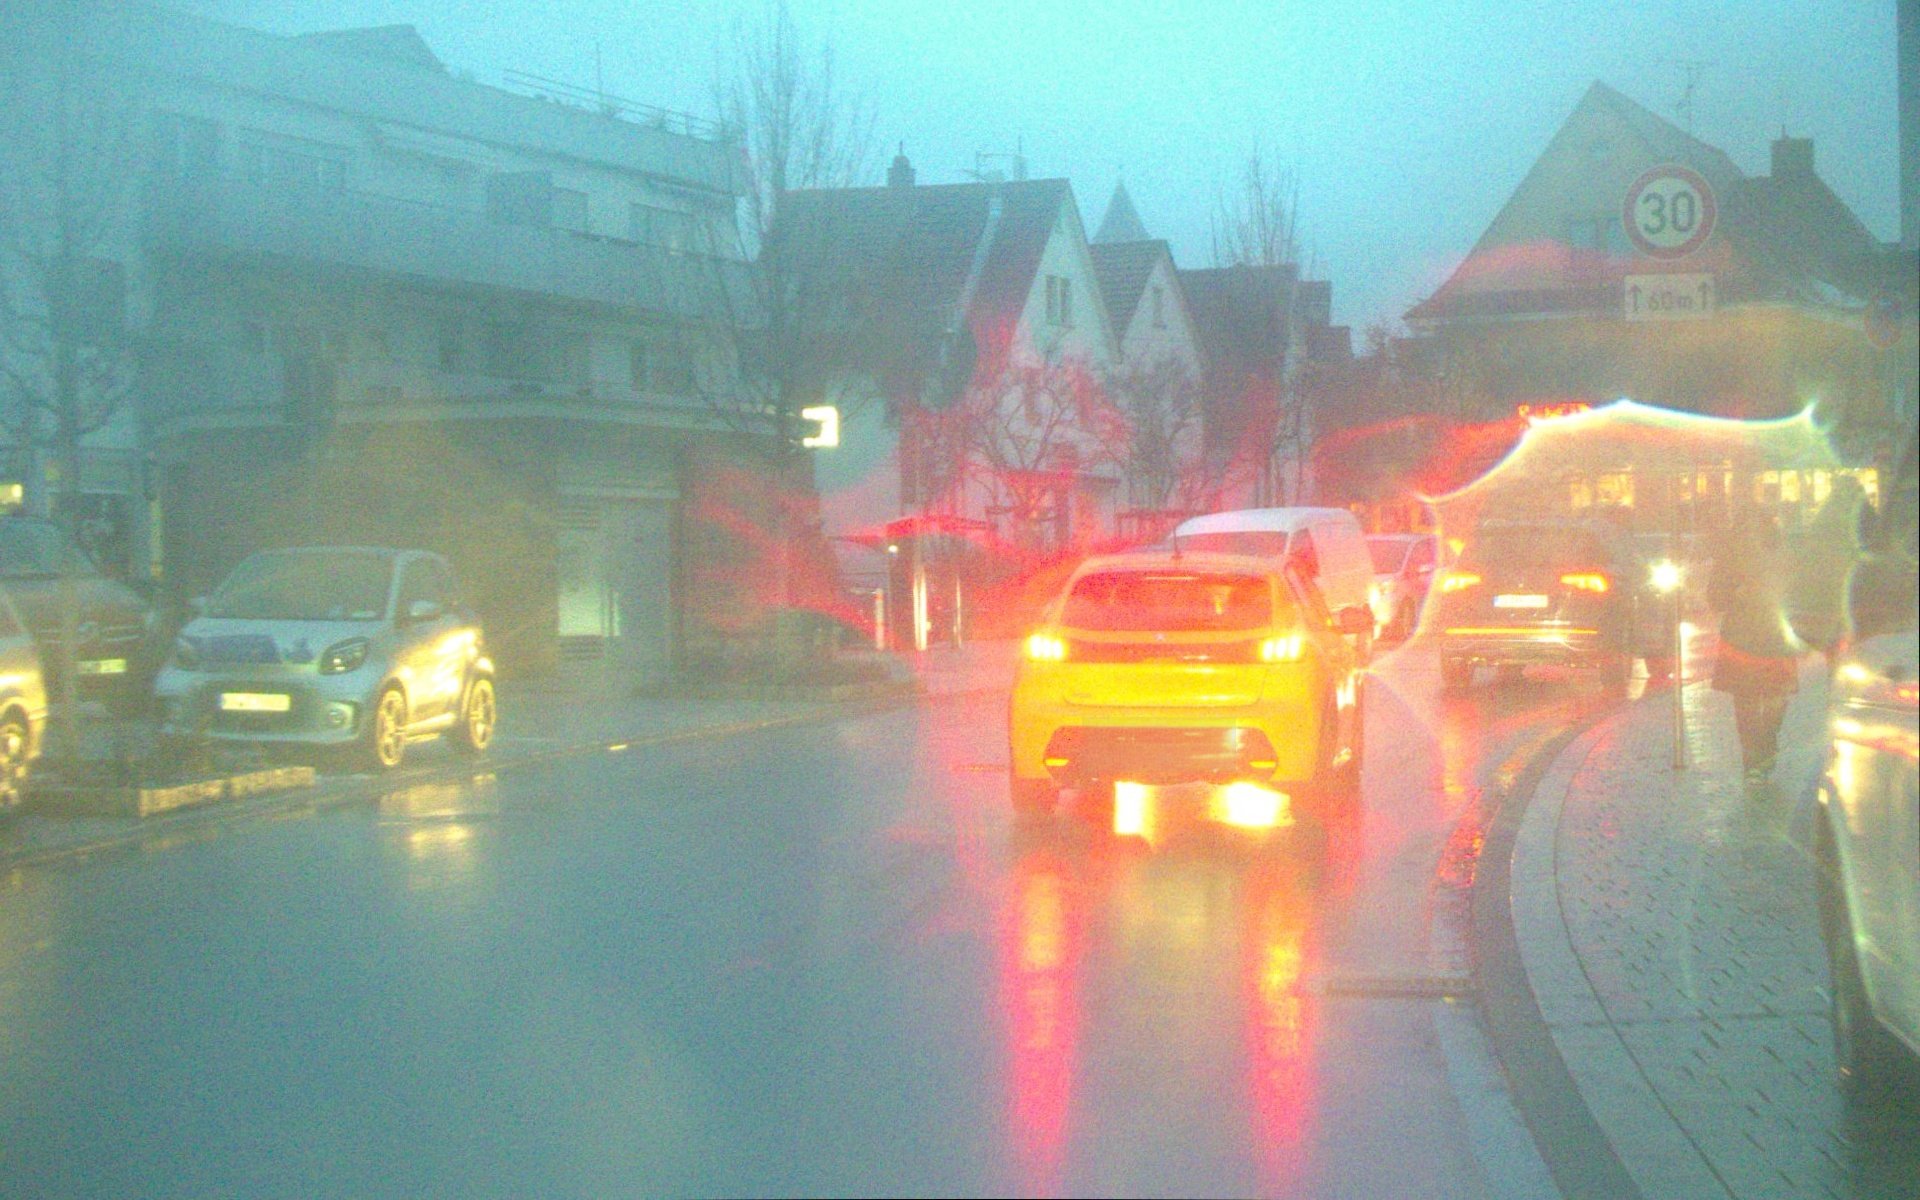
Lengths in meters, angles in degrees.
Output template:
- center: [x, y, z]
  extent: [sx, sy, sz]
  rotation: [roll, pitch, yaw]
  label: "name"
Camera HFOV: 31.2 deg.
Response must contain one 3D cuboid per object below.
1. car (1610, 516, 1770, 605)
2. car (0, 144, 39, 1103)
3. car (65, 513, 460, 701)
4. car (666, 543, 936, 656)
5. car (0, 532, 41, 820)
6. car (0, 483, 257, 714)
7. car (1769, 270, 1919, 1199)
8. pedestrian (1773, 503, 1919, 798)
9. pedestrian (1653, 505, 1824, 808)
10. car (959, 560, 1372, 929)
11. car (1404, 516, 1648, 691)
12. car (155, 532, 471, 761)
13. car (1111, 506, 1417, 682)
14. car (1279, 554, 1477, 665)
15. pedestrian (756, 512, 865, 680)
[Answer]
- center: [13.222, -0.734, 62.126]
  extent: [1.672, 1.511, 3.993]
  rotation: [2, 2, 30]
  label: "car"
- center: [-3.730, 0.133, 6.130]
  extent: [2.195, 2.482, 6.142]
  rotation: [-1, 1, 3]
  label: "car"
- center: [-7.395, 0.073, 36.470]
  extent: [3.715, 1.897, 1.758]
  rotation: [-1, 1, 22]
  label: "car"
- center: [-2.276, 0.008, 48.409]
  extent: [1.734, 1.472, 4.087]
  rotation: [-2, 0, -37]
  label: "car"
- center: [-6.131, 0.445, 16.890]
  extent: [1.905, 1.528, 4.256]
  rotation: [0, 1, 3]
  label: "car"
- center: [-8.737, 0.010, 30.861]
  extent: [5.394, 1.879, 2.068]
  rotation: [-1, 1, 45]
  label: "car"
- center: [2.932, 0.303, 7.045]
  extent: [1.973, 1.953, 4.851]
  rotation: [-1, 1, 8]
  label: "car"
- center: [5.140, 0.283, 19.944]
  extent: [0.579, 1.663, 0.791]
  rotation: [-2, 1, -4]
  label: "pedestrian"
- center: [4.482, 0.314, 19.826]
  extent: [0.713, 1.693, 0.804]
  rotation: [-2, 1, -5]
  label: "pedestrian"
- center: [1.310, 0.716, 19.761]
  extent: [1.994, 1.789, 4.647]
  rotation: [-1, 1, 8]
  label: "car"
- center: [5.767, 0.001, 34.691]
  extent: [1.799, 1.656, 3.996]
  rotation: [0, 1, 19]
  label: "car"
- center: [-4.595, 0.278, 24.888]
  extent: [1.833, 1.530, 3.676]
  rotation: [0, 1, -4]
  label: "car"
- center: [3.426, -0.115, 37.775]
  extent: [1.948, 1.744, 4.846]
  rotation: [-3, 0, 22]
  label: "car"
- center: [6.165, 0.110, 50.372]
  extent: [1.695, 1.511, 3.767]
  rotation: [1, 2, 27]
  label: "car"
- center: [-1.685, -0.053, 38.786]
  extent: [0.755, 1.860, 1.059]
  rotation: [-1, 1, 30]
  label: "pedestrian"
